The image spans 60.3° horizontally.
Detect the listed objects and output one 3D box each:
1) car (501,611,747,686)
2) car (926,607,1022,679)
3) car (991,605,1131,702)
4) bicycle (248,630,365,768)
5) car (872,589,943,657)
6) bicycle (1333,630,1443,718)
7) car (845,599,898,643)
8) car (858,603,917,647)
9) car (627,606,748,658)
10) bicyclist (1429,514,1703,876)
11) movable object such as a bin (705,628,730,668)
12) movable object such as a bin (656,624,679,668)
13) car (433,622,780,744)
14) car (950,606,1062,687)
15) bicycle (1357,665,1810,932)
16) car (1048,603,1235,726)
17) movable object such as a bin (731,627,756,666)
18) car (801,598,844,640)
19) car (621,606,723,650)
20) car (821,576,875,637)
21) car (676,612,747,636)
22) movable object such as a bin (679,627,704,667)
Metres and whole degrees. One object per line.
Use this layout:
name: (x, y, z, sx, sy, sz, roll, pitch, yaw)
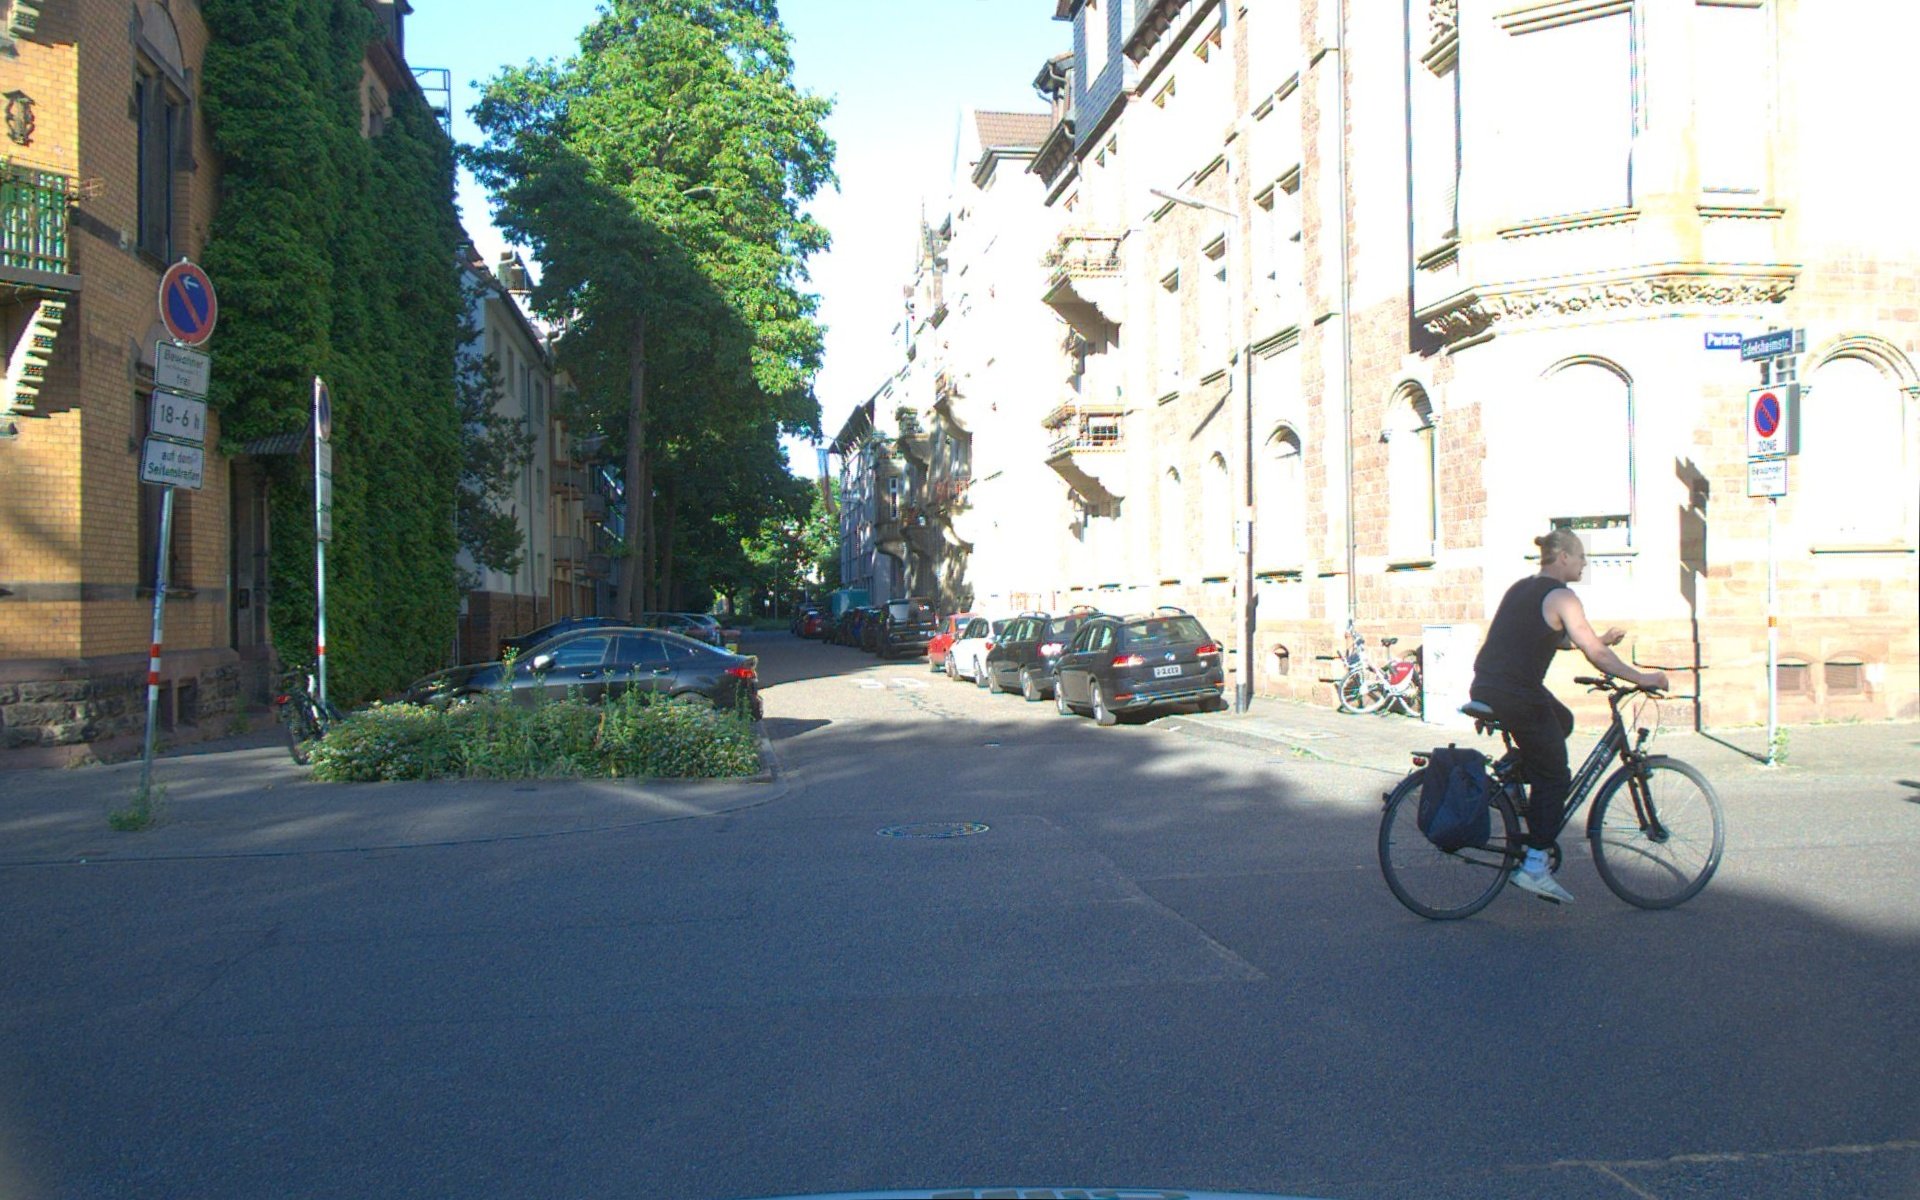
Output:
car: (-6.740, 0.952, 33.432, 4.747, 1.460, 1.706, 0, -1, -11)
car: (0.284, 0.993, 39.541, 1.705, 1.609, 3.992, 0, -1, -9)
car: (1.732, 0.909, 29.621, 1.705, 1.609, 3.992, 0, -1, -9)
bicycle: (-6.608, 0.973, 16.790, 0.551, 1.290, 1.602, -1, 0, -1)
car: (-1.684, 0.710, 52.031, 1.769, 2.039, 3.992, 0, -1, -9)
bicycle: (5.225, 0.885, 20.271, 0.506, 1.015, 1.566, 0, -1, -20)
car: (-3.630, 0.834, 67.007, 1.769, 1.708, 3.992, 0, -1, -9)
car: (-2.676, 0.903, 60.219, 1.769, 1.541, 3.992, 0, -1, -9)
car: (-8.681, 0.999, 52.649, 3.735, 1.603, 1.705, 0, -1, -13)
bicyclist: (2.755, 0.413, 7.576, 0.953, 1.553, 0.705, 0, -1, -15)
movable object such as a bin: (-6.563, 1.296, 44.803, 0.619, 1.071, 0.566, 0, -1, -15)
movable object such as a bin: (-7.870, 1.222, 44.490, 0.588, 1.173, 0.485, 0, -1, -15)
car: (-4.480, 1.019, 21.342, 4.166, 1.460, 1.995, 0, -1, -11)
car: (0.905, 0.946, 34.897, 1.705, 1.609, 3.992, 0, -1, -9)
bicycle: (2.856, 0.861, 7.599, 1.931, 1.091, 0.695, 0, -1, -17)
car: (2.498, 0.859, 23.665, 1.705, 1.609, 3.992, 0, -1, -9)
movable object such as a bin: (-5.883, 1.260, 44.940, 0.619, 1.071, 0.566, 0, -1, -15)
car: (-7.849, 1.075, 93.903, 2.126, 2.276, 4.781, 0, -1, -9)
car: (-10.857, 1.043, 62.306, 3.733, 1.603, 1.705, 0, -1, -11)
car: (-5.238, 0.305, 77.074, 2.126, 2.738, 4.781, 0, -1, -9)
car: (-13.312, 1.276, 88.480, 3.733, 1.262, 1.705, 0, -1, -11)
movable object such as a bin: (-7.229, 1.267, 44.598, 0.619, 1.071, 0.566, 0, -1, -15)
